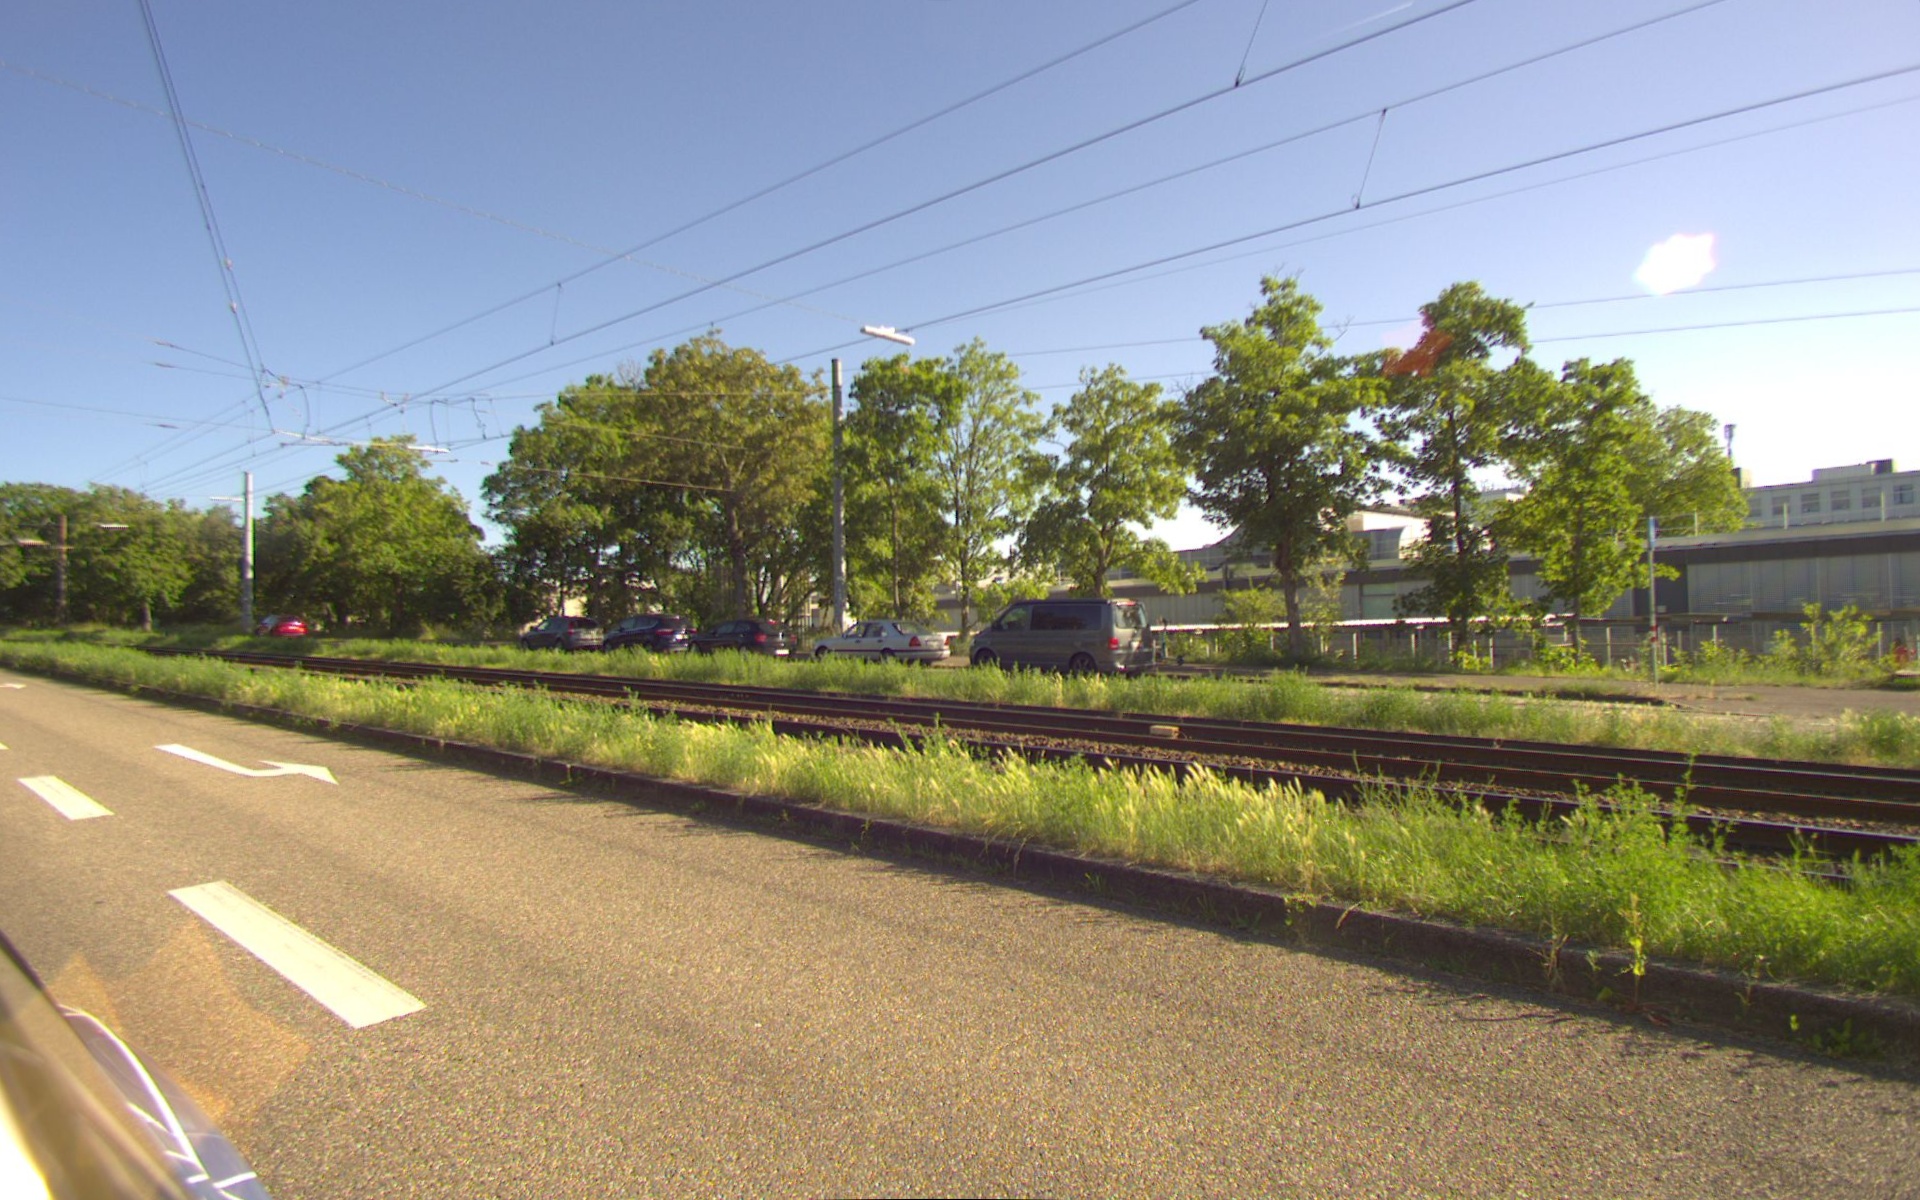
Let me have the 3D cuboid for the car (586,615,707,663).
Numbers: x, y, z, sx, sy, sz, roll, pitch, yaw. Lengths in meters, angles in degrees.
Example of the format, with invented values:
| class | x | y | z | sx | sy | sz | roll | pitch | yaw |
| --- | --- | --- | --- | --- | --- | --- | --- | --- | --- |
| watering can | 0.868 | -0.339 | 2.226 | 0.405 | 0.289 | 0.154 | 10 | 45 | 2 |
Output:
| class | x | y | z | sx | sy | sz | roll | pitch | yaw |
| --- | --- | --- | --- | --- | --- | --- | --- | --- | --- |
| car | -11.438 | 1.394 | 36.791 | 4.614 | 1.599 | 2.102 | -2 | -1 | 41 |

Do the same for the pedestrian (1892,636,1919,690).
| class | x | y | z | sx | sy | sz | roll | pitch | yaw |
| --- | --- | --- | --- | --- | --- | --- | --- | --- | --- |
| pedestrian | 23.432 | 1.538 | 24.944 | 0.435 | 1.310 | 0.441 | -1 | -2 | -1 |

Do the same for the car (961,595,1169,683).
| class | x | y | z | sx | sy | sz | roll | pitch | yaw |
| --- | --- | --- | --- | --- | --- | --- | --- | --- | --- |
| car | 2.487 | 0.929 | 24.777 | 4.684 | 1.949 | 2.178 | -2 | -1 | 42 |

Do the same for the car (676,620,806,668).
| class | x | y | z | sx | sy | sz | roll | pitch | yaw |
| --- | --- | --- | --- | --- | --- | --- | --- | --- | --- |
| car | -7.243 | 1.427 | 33.239 | 4.486 | 1.437 | 1.935 | -2 | -1 | 42 |

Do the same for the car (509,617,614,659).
| class | x | y | z | sx | sy | sz | roll | pitch | yaw |
| --- | --- | --- | --- | --- | --- | --- | --- | --- | --- |
| car | -16.268 | 1.526 | 41.267 | 4.557 | 1.575 | 2.103 | -2 | -1 | 41 |

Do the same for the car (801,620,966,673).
| class | x | y | z | sx | sy | sz | roll | pitch | yaw |
| --- | --- | --- | --- | --- | --- | --- | --- | --- | --- |
| car | -2.266 | 1.314 | 29.232 | 4.612 | 1.391 | 2.103 | -2 | -1 | 40 |

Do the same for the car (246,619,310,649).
| class | x | y | z | sx | sy | sz | roll | pitch | yaw |
| --- | --- | --- | --- | --- | --- | --- | --- | --- | --- |
| car | -42.462 | 2.089 | 62.995 | 4.797 | 1.746 | 2.290 | -2 | -1 | 43 |
